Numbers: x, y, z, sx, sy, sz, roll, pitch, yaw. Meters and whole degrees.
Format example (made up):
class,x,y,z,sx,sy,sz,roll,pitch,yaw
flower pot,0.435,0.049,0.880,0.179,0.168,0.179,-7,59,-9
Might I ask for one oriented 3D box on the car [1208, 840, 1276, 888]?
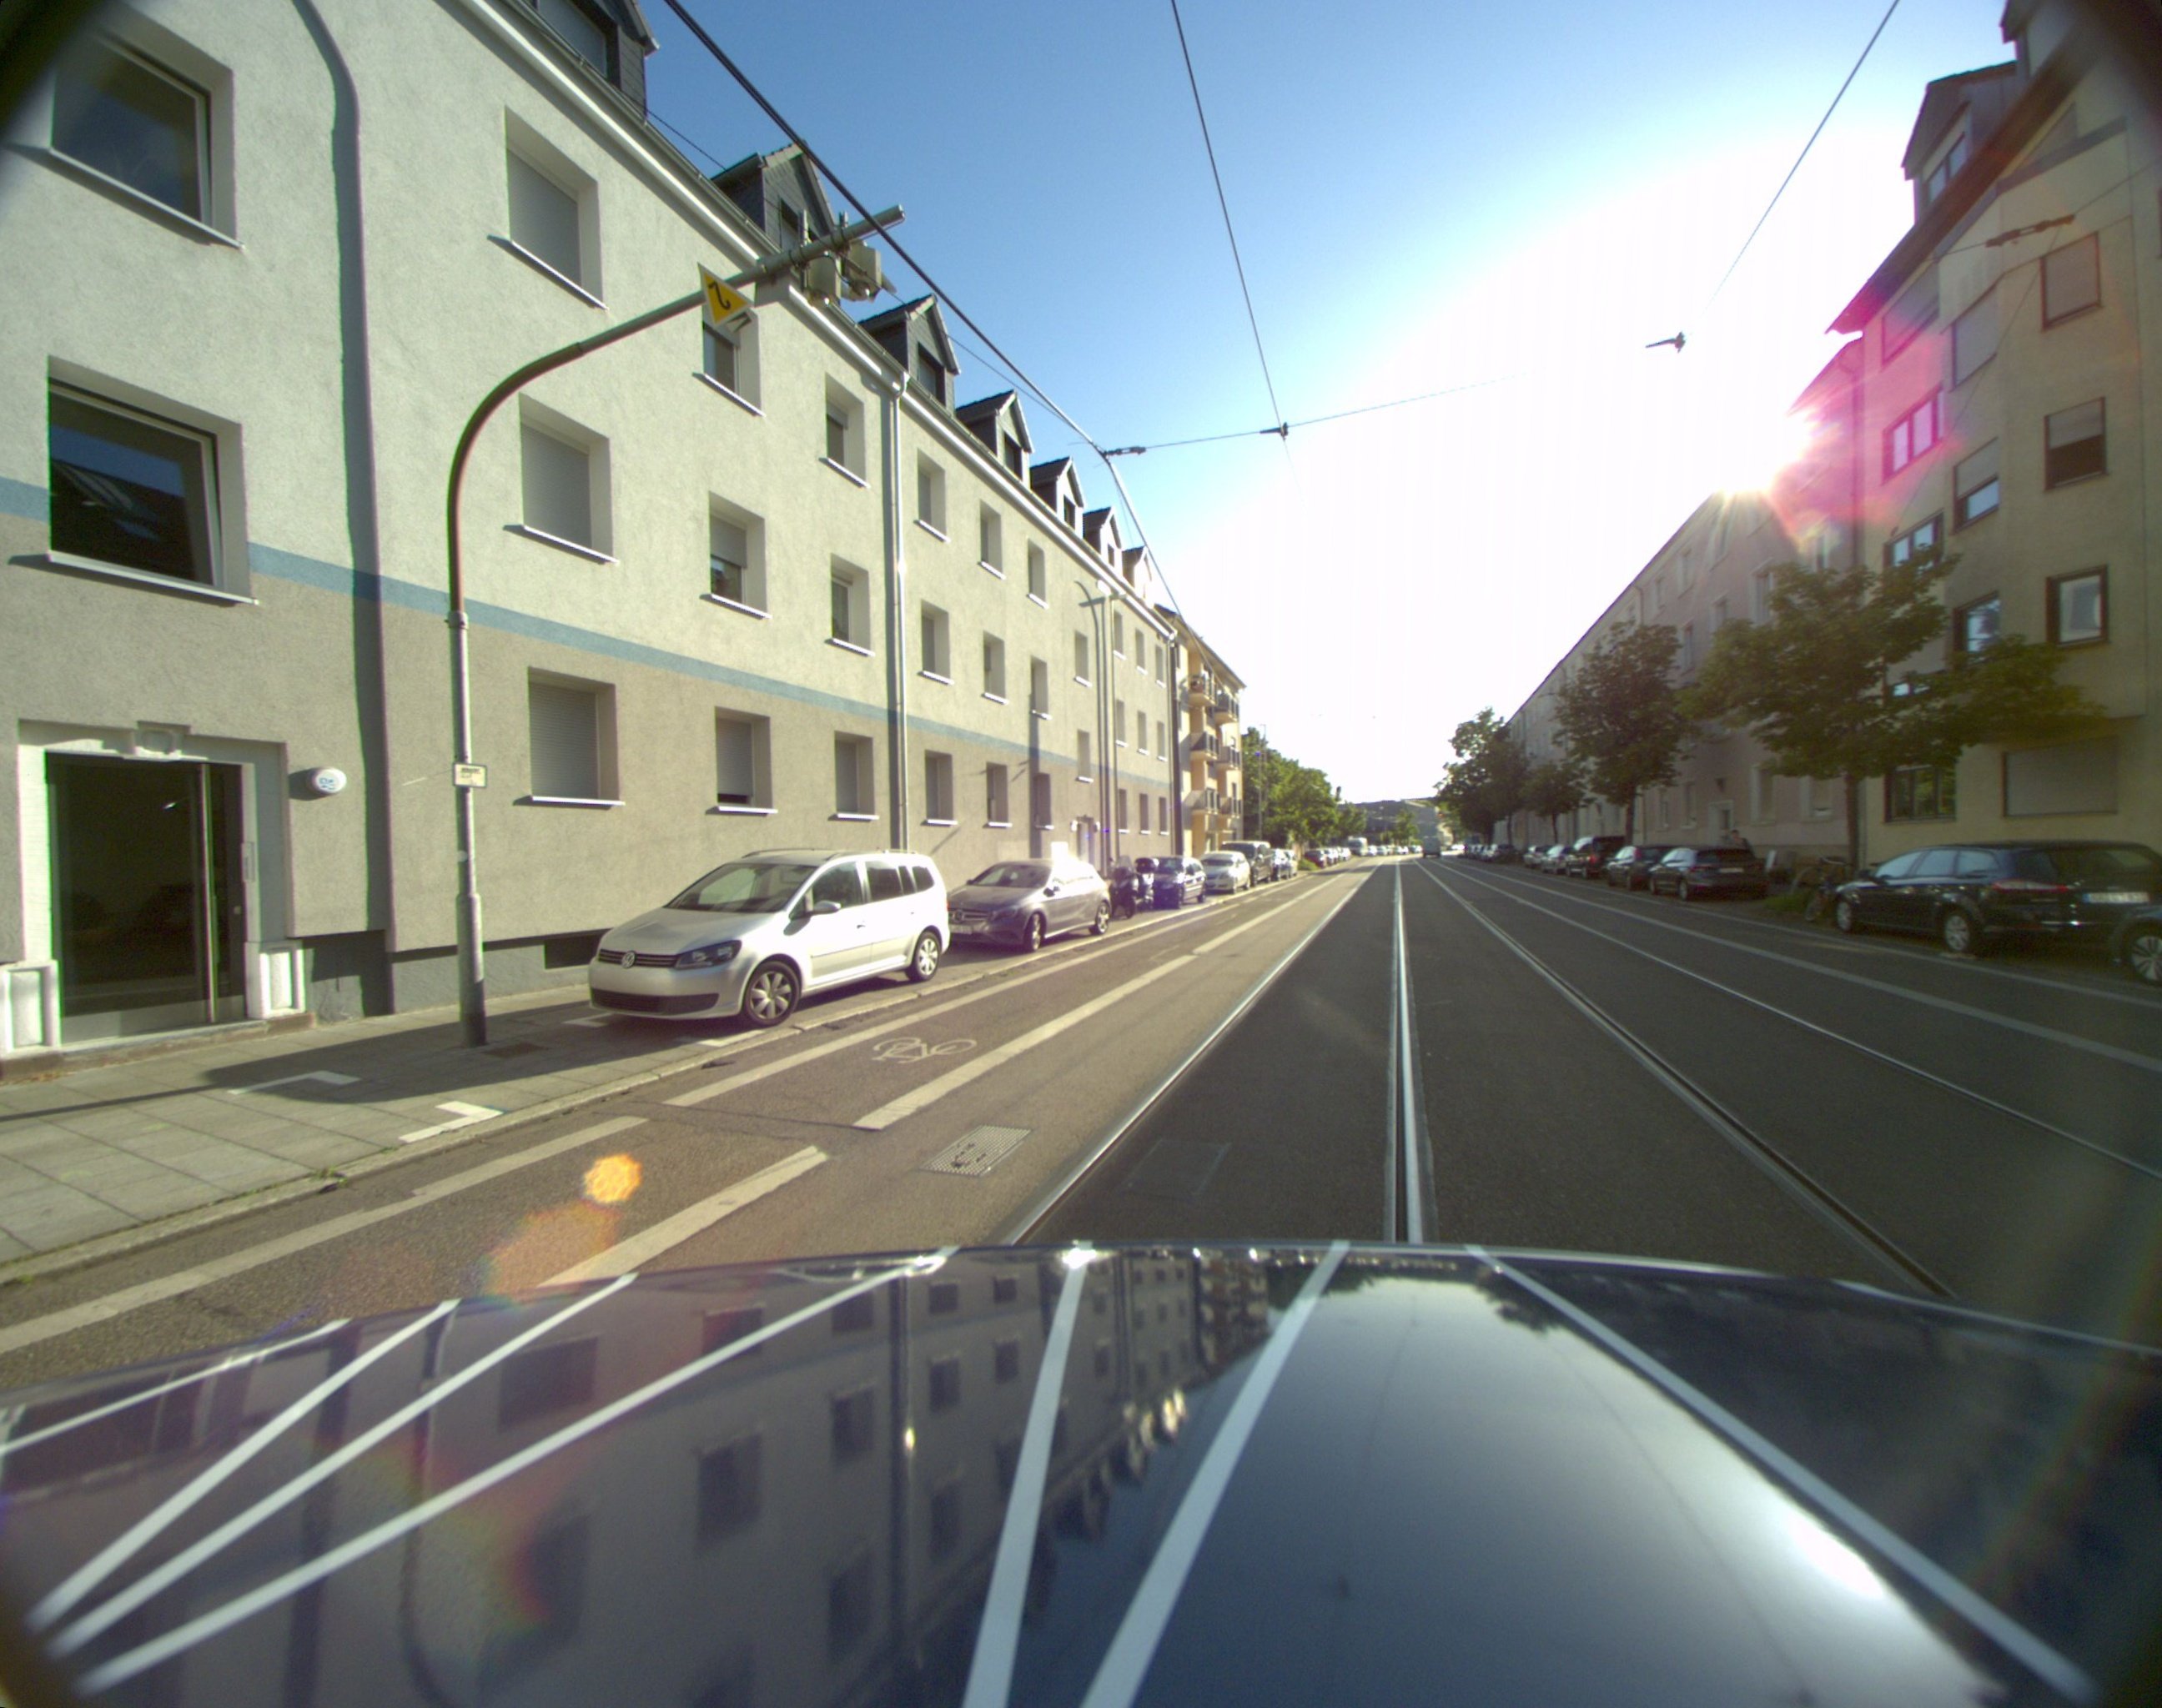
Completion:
class,x,y,z,sx,sy,sz,roll,pitch,yaw
car,7.147,0.368,33.266,1.931,1.910,5.011,1,1,24

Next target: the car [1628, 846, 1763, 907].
class,x,y,z,sx,sy,sz,roll,pitch,yaw
car,17.070,0.564,21.349,1.767,1.464,4.047,-4,-1,22

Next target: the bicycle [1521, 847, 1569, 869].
class,x,y,z,sx,sy,sz,roll,pitch,yaw
bicycle,25.772,0.218,42.272,2.146,1.136,0.660,-3,0,19

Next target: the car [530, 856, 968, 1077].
class,x,y,z,sx,sy,sz,roll,pitch,yaw
car,-3.156,0.900,8.484,1.756,1.656,4.632,1,1,20

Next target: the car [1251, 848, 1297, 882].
class,x,y,z,sx,sy,sz,roll,pitch,yaw
car,9.627,0.500,37.714,1.610,1.562,4.225,1,1,23

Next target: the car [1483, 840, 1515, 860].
class,x,y,z,sx,sy,sz,roll,pitch,yaw
car,34.728,-0.329,63.173,1.685,1.614,4.054,-1,0,19

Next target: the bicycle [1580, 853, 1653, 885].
class,x,y,z,sx,sy,sz,roll,pitch,yaw
bicycle,20.647,0.570,29.334,2.114,1.099,0.747,-4,0,21

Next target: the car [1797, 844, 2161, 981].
class,x,y,z,sx,sy,sz,roll,pitch,yaw
car,12.625,0.653,11.014,1.766,1.533,4.741,-1,0,24

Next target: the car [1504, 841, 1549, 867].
class,x,y,z,sx,sy,sz,roll,pitch,yaw
car,27.303,-0.018,46.696,1.767,1.464,4.759,-2,0,23

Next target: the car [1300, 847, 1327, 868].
class,x,y,z,sx,sy,sz,roll,pitch,yaw
car,18.164,0.218,59.227,1.610,1.562,4.485,1,1,23

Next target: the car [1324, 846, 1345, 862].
class,x,y,z,sx,sy,sz,roll,pitch,yaw
car,25.989,-0.005,77.879,1.825,1.562,4.485,1,1,22

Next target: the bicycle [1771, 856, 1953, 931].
class,x,y,z,sx,sy,sz,roll,pitch,yaw
bicycle,14.605,0.725,14.304,2.294,1.326,0.700,-1,1,22

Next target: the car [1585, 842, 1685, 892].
class,x,y,z,sx,sy,sz,roll,pitch,yaw
car,18.807,0.397,25.985,1.767,1.464,4.187,-4,-1,23

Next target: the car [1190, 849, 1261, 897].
class,x,y,z,sx,sy,sz,roll,pitch,yaw
car,5.322,0.636,27.592,1.802,1.562,3.909,1,1,22

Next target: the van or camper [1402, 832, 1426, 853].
class,x,y,z,sx,sy,sz,roll,pitch,yaw
van or camper,42.534,-1.408,97.297,2.372,2.538,6.844,-1,0,20

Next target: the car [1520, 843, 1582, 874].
class,x,y,z,sx,sy,sz,roll,pitch,yaw
car,23.596,0.187,38.308,1.767,1.464,4.865,-2,0,21

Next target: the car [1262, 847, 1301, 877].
class,x,y,z,sx,sy,sz,roll,pitch,yaw
car,11.158,0.401,42.135,1.554,1.534,3.637,1,1,23

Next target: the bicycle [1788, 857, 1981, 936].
class,x,y,z,sx,sy,sz,roll,pitch,yaw
bicycle,14.318,0.742,13.630,2.294,1.326,0.700,-1,1,22

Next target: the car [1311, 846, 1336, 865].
class,x,y,z,sx,sy,sz,roll,pitch,yaw
car,21.863,0.093,68.494,1.825,1.562,4.485,1,1,22

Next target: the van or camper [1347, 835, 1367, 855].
class,x,y,z,sx,sy,sz,roll,pitch,yaw
van or camper,38.633,-1.273,106.169,2.087,2.548,5.702,-2,1,24

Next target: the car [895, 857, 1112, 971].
class,x,y,z,sx,sy,sz,roll,pitch,yaw
car,-1.137,0.882,13.371,1.865,1.546,4.373,1,1,24

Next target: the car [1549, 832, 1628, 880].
class,x,y,z,sx,sy,sz,roll,pitch,yaw
car,21.830,0.053,32.873,1.767,1.834,4.430,-4,-1,20

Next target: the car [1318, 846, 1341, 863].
class,x,y,z,sx,sy,sz,roll,pitch,yaw
car,24.049,0.002,73.562,1.825,1.562,4.485,1,1,22

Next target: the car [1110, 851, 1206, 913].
class,x,y,z,sx,sy,sz,roll,pitch,yaw
car,2.301,0.717,21.823,1.610,1.562,3.910,1,1,24

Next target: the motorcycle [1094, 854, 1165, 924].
class,x,y,z,sx,sy,sz,roll,pitch,yaw
motorcycle,1.217,0.789,18.252,0.806,1.513,2.712,-1,0,23

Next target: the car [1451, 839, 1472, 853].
class,x,y,z,sx,sy,sz,roll,pitch,yaw
car,44.534,-0.903,89.006,1.685,1.542,3.956,-1,0,19

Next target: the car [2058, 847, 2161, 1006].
class,x,y,z,sx,sy,sz,roll,pitch,yaw
car,11.082,0.716,6.220,1.737,1.533,4.134,-1,0,17
